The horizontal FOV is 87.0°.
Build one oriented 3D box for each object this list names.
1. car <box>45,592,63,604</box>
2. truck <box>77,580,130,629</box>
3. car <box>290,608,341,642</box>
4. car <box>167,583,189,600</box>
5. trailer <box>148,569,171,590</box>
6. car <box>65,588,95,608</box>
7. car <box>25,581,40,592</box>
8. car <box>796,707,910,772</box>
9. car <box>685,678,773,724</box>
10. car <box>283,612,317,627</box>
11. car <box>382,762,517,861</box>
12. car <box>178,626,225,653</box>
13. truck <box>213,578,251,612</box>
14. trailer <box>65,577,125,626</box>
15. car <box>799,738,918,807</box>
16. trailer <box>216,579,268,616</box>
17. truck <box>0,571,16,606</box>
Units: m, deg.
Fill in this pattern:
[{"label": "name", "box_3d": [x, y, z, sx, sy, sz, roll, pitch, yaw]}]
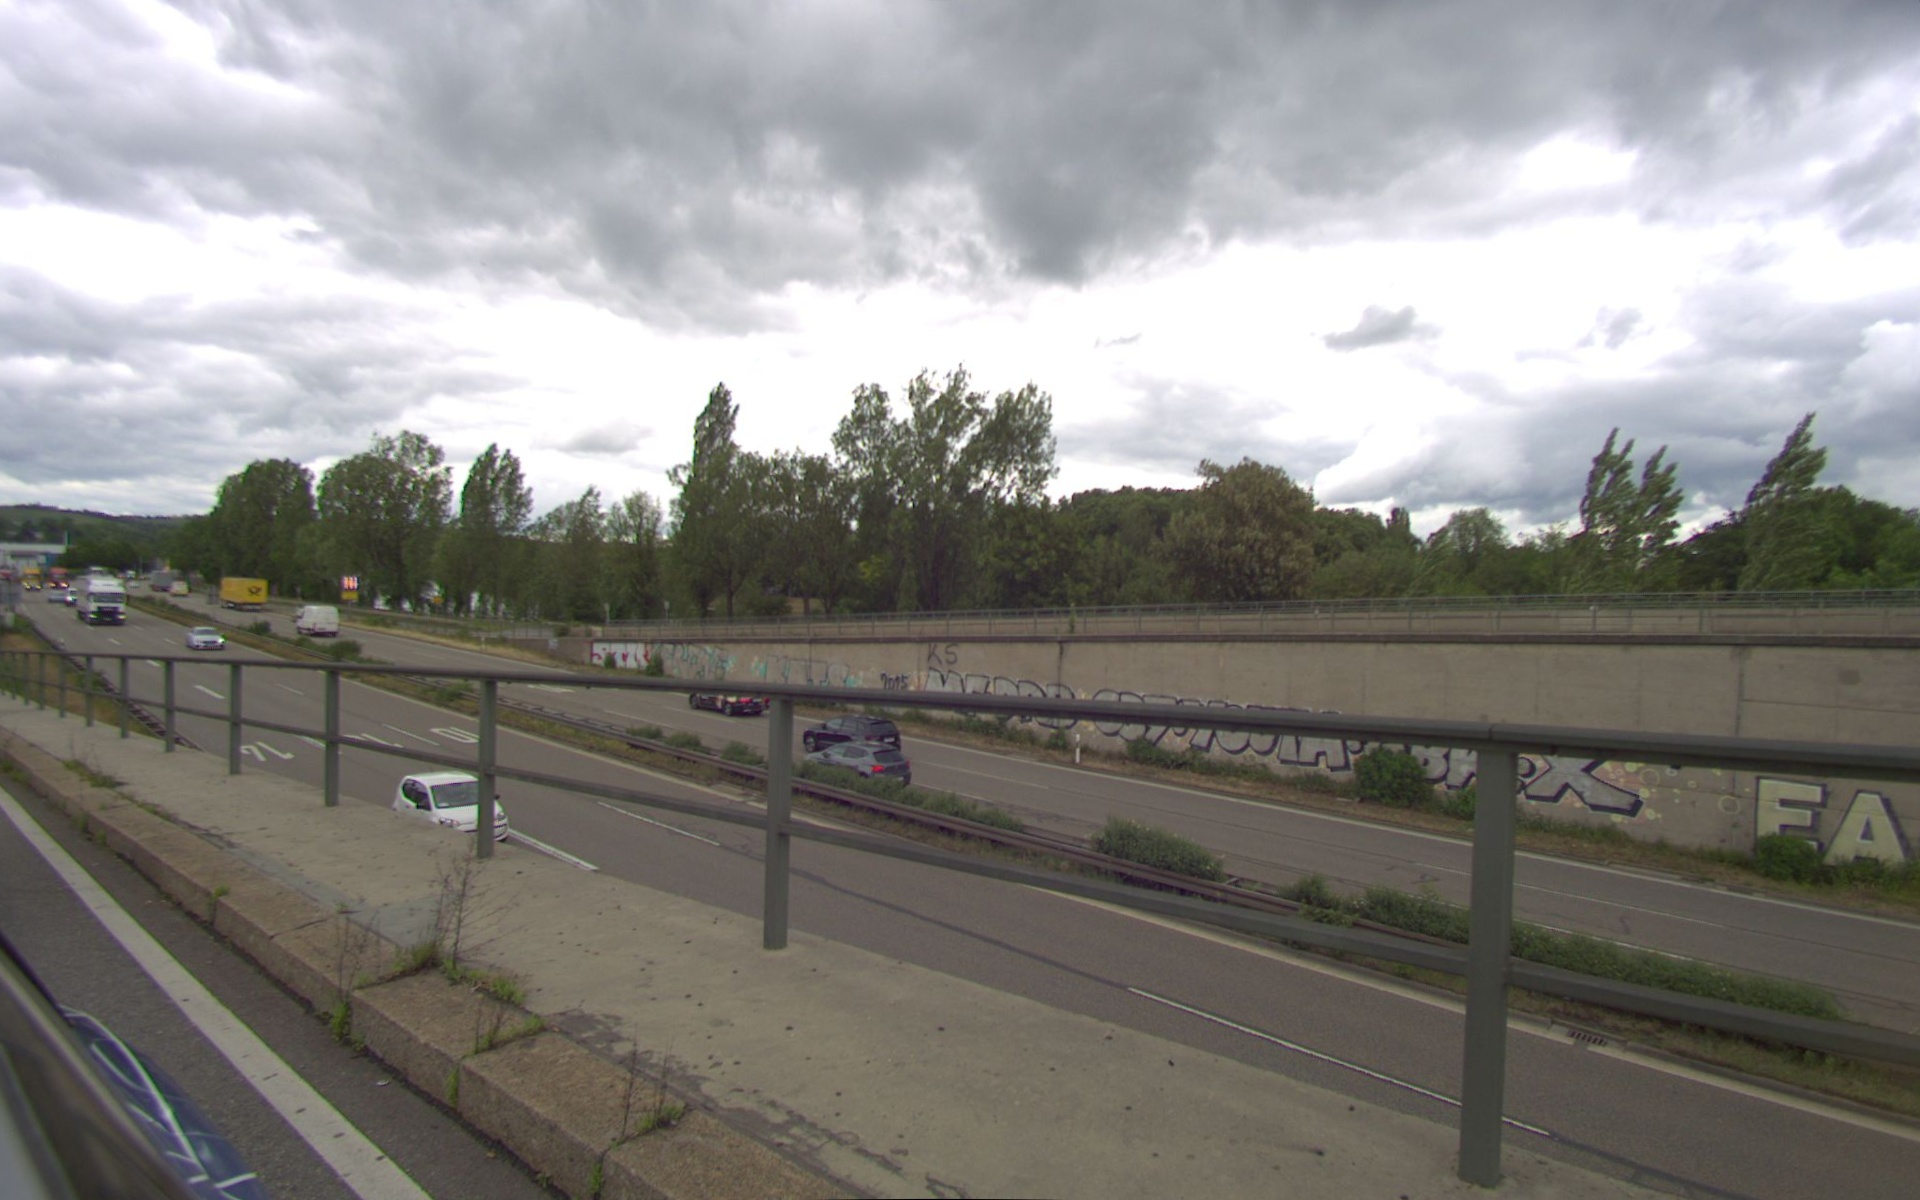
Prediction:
[{"label": "car", "box_3d": [-117.701, -0.253, 131.463, 3.538, 1.383, 1.492, 3, 0, 43]}, {"label": "truck", "box_3d": [-77.100, 0.354, 91.038, 5.876, 4.140, 2.969, 2, 0, 44]}, {"label": "car", "box_3d": [-55.559, 2.155, 87.187, 6.101, 2.613, 2.144, 2, 0, 42]}, {"label": "car", "box_3d": [-137.555, -1.524, 178.039, 6.715, 2.648, 1.972, 2, -1, 43]}, {"label": "trailer", "box_3d": [-168.388, -4.395, 212.850, 2.753, 4.170, 13.782, 1, 1, -42]}, {"label": "car", "box_3d": [-106.794, -0.256, 122.736, 6.502, 2.259, 2.076, 3, 0, 43]}, {"label": "car", "box_3d": [-165.373, -2.419, 180.438, 4.002, 1.679, 1.786, 3, 1, 44]}, {"label": "car", "box_3d": [-4.047, 5.142, 37.766, 4.181, 1.731, 1.862, 2, 0, 41]}, {"label": "car", "box_3d": [-11.160, 4.800, 48.649, 4.635, 1.664, 1.839, 2, 0, 44]}, {"label": "car", "box_3d": [-68.859, 2.035, 105.571, 4.152, 1.468, 1.848, 2, 0, 41]}, {"label": "car", "box_3d": [-12.019, 4.875, 23.748, 3.337, 1.539, 1.745, 2, 0, 43]}, {"label": "car", "box_3d": [-53.376, 2.756, 71.191, 4.439, 1.582, 1.830, 3, 2, 43]}, {"label": "truck", "box_3d": [-96.030, -0.644, 133.475, 3.203, 4.213, 5.808, 2, 0, -45]}, {"label": "trailer", "box_3d": [-82.254, 0.026, 96.084, 13.995, 4.140, 2.969, 2, 0, 44]}, {"label": "car", "box_3d": [-3.242, 5.398, 31.990, 3.650, 1.464, 1.696, 3, 1, 42]}, {"label": "trailer", "box_3d": [-91.349, -0.363, 128.669, 3.203, 4.294, 13.691, 2, 0, -44]}, {"label": "truck", "box_3d": [-120.626, -1.486, 126.851, 3.059, 4.040, 8.497, 1, 2, -45]}]
